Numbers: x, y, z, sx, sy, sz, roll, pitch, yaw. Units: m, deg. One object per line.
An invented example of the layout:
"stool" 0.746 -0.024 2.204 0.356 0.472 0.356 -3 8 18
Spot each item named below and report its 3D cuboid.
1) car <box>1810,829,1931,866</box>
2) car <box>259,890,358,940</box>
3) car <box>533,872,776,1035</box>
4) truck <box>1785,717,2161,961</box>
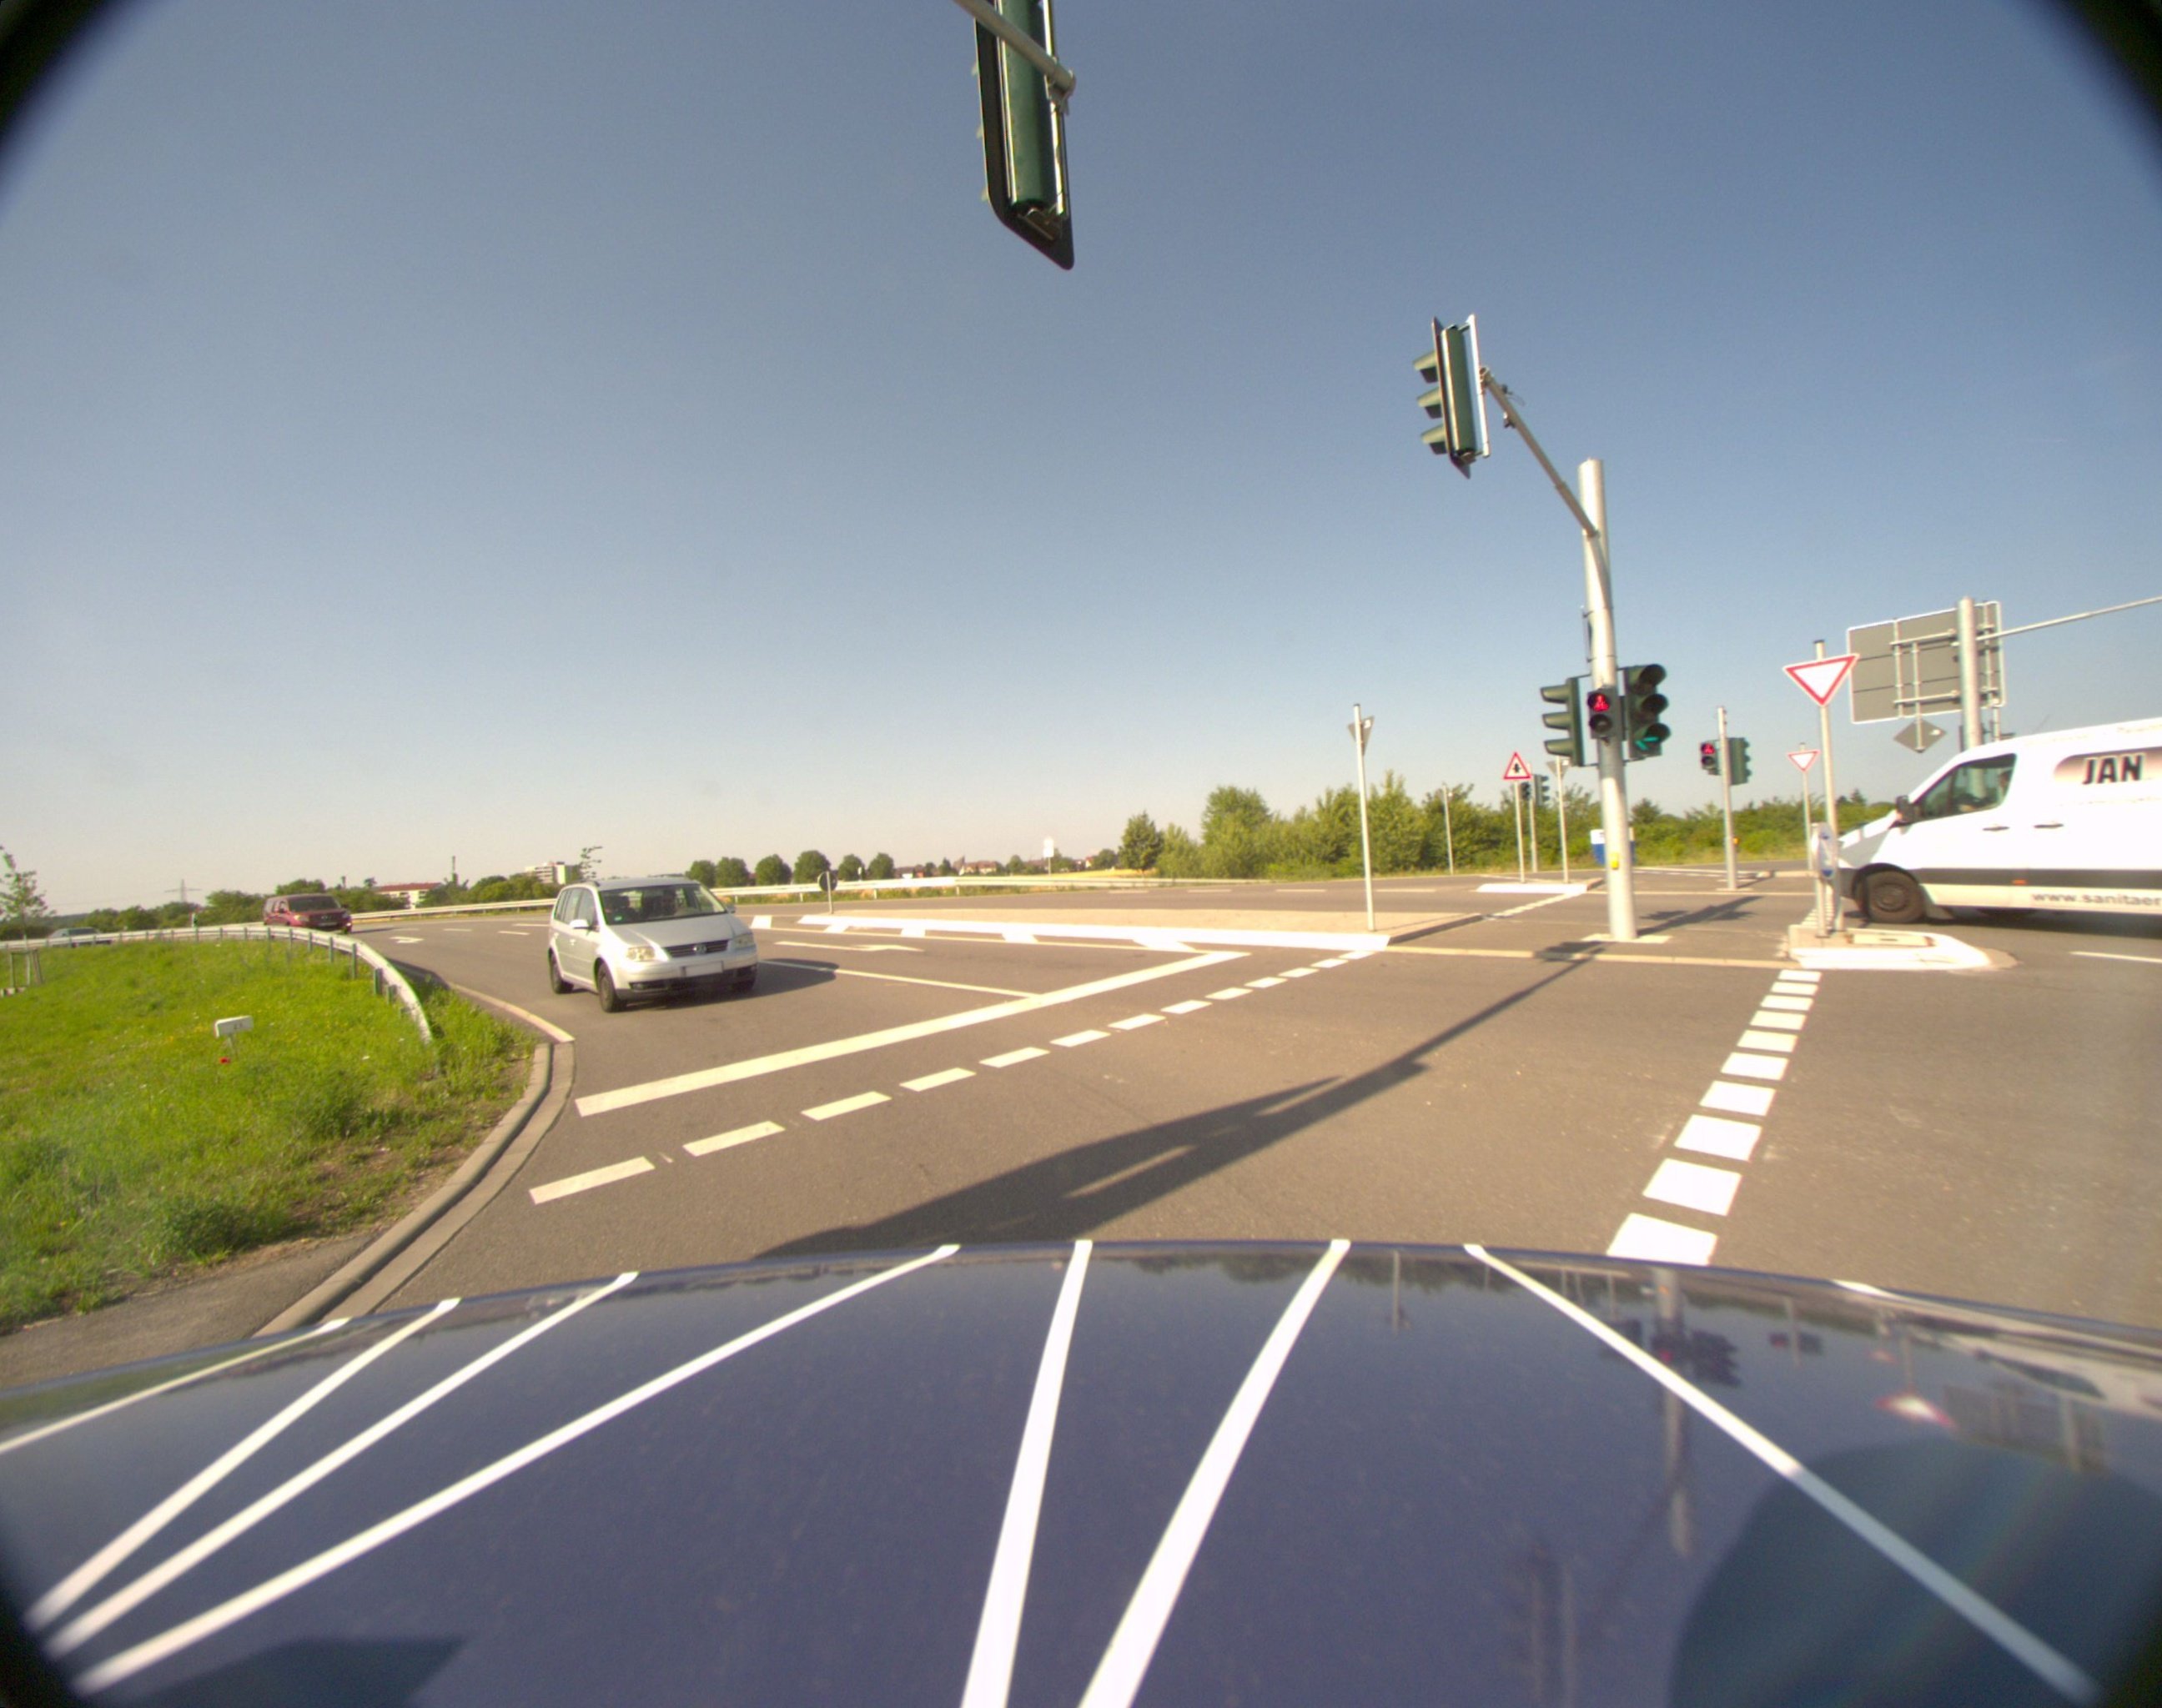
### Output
"car" 27.641 -0.235 26.591 4.005 1.106 1.736 -2 1 -25
"car" -32.120 2.553 31.566 4.687 1.826 1.697 -4 0 31
"car" -6.008 1.183 10.457 1.759 1.685 4.203 -4 1 -45
"truck" 11.569 -0.196 8.078 2.070 2.391 6.195 -3 1 -4
